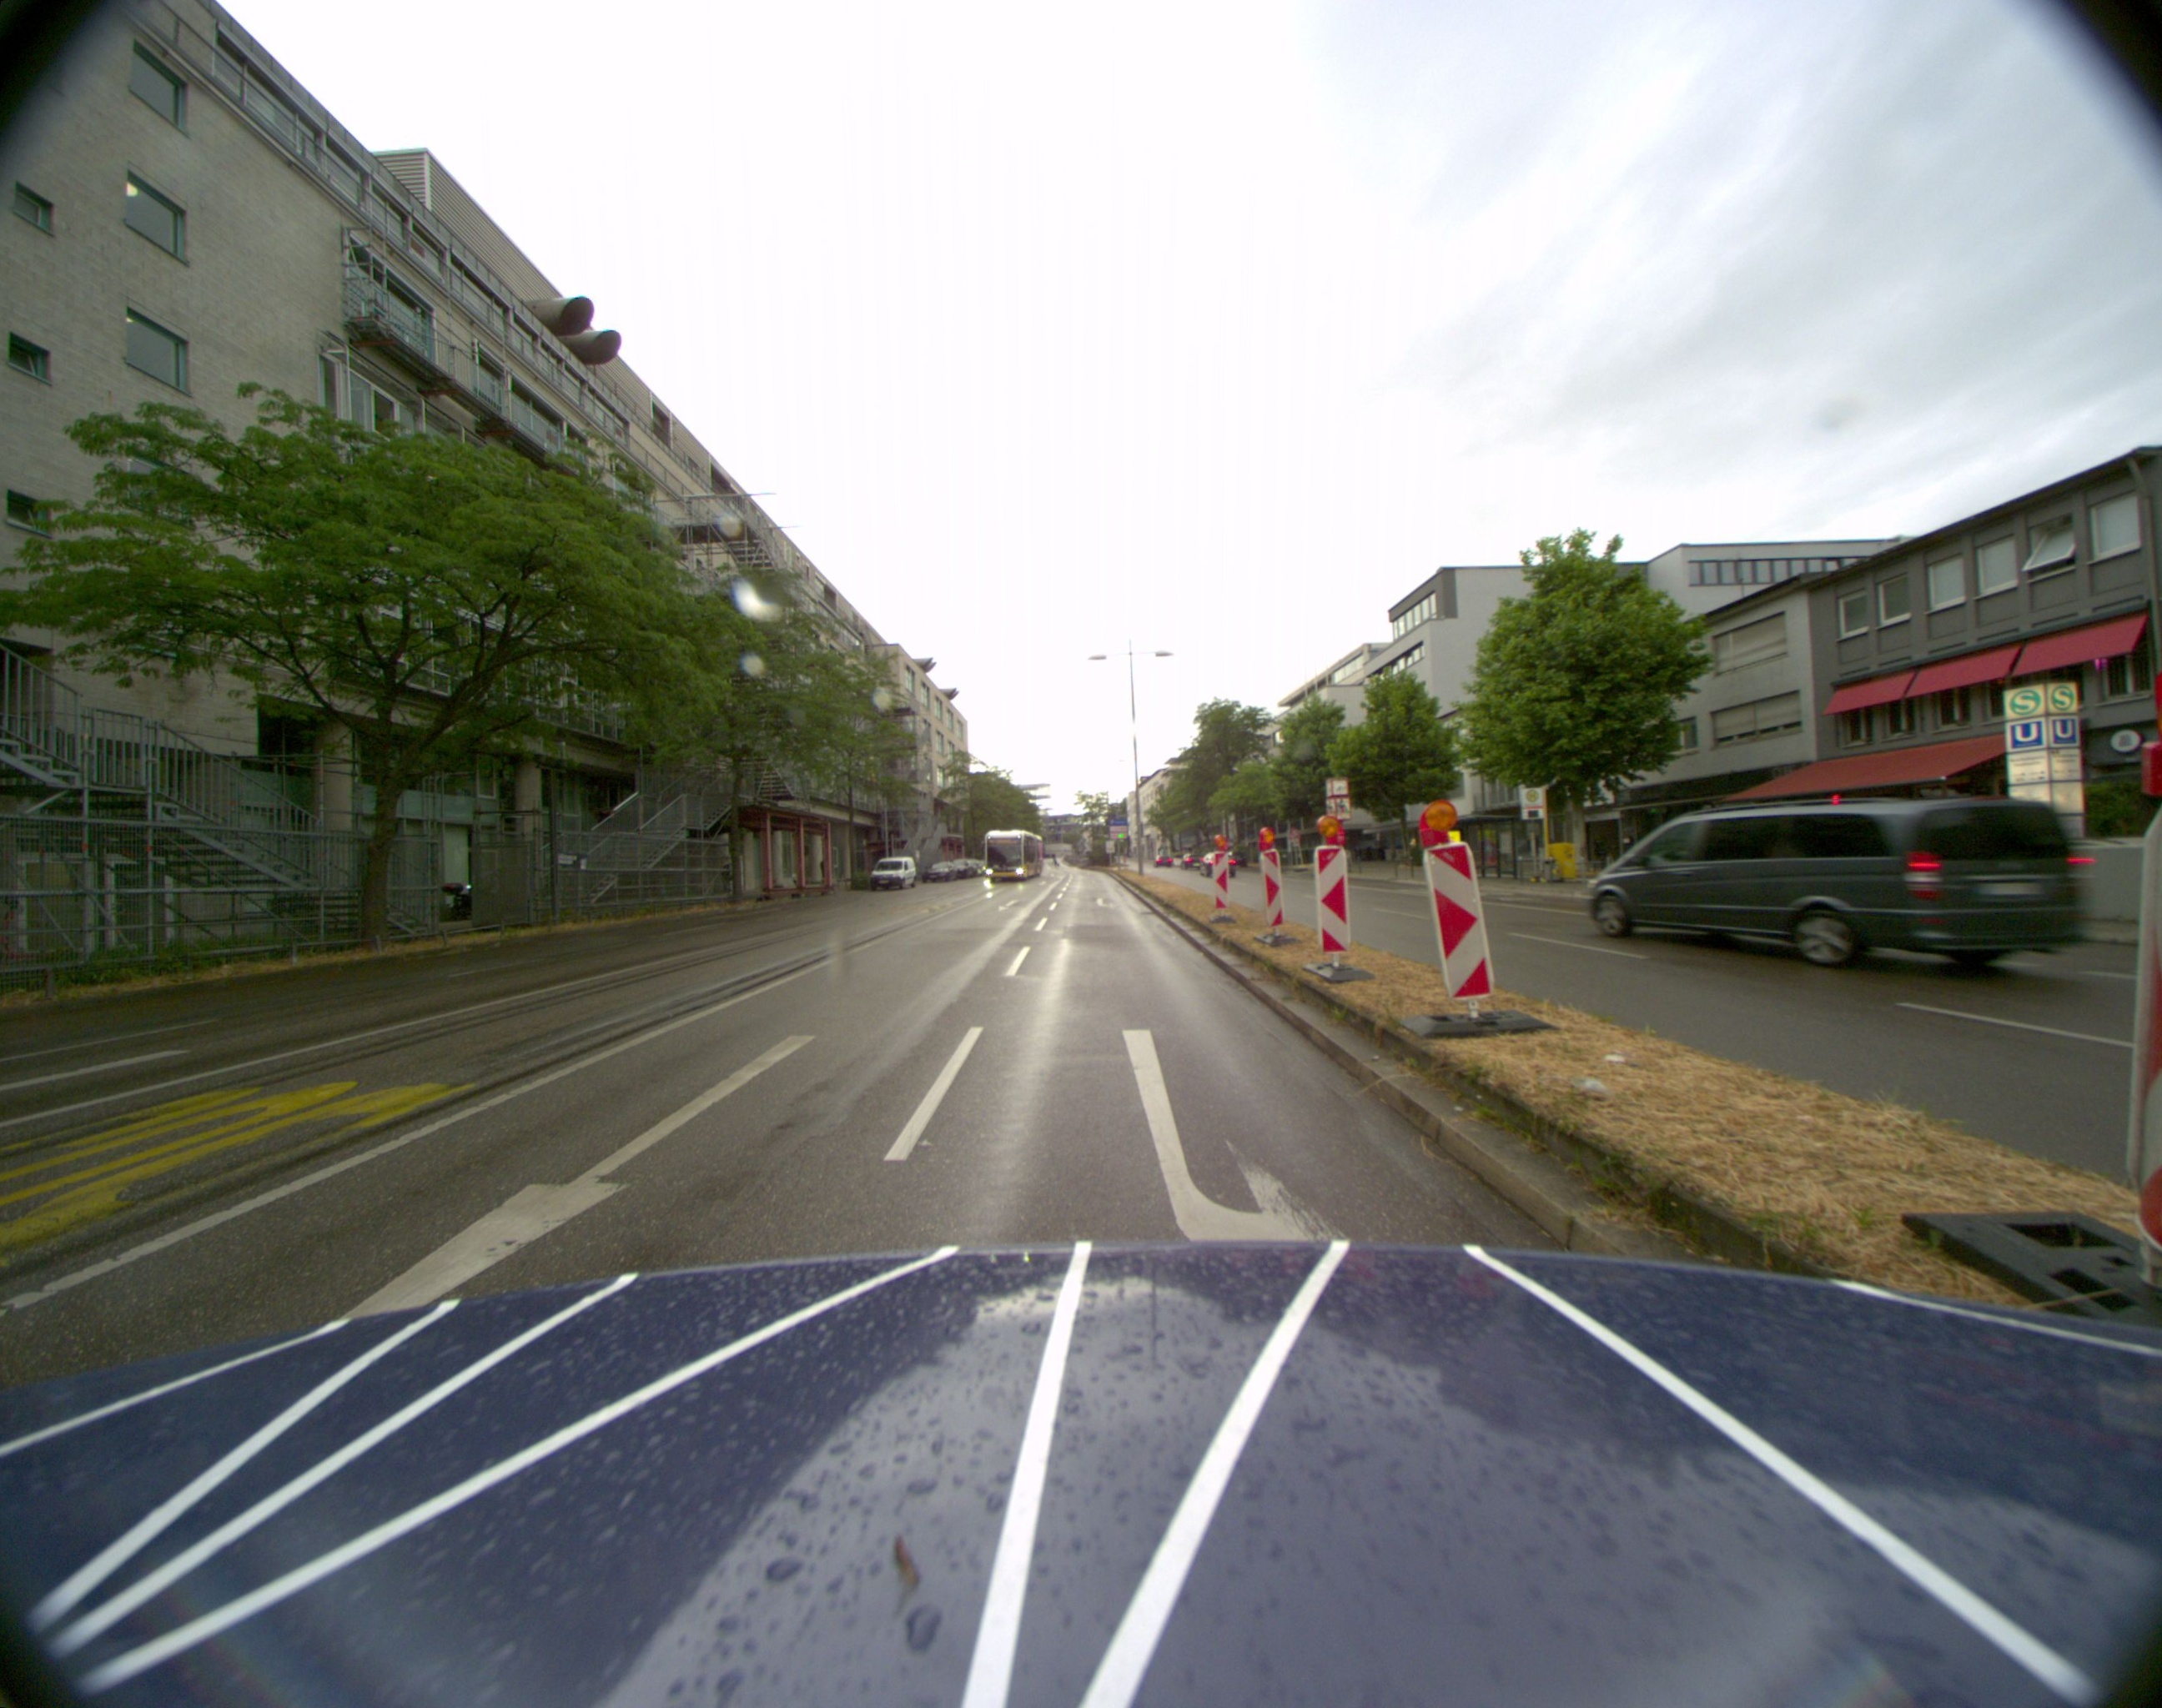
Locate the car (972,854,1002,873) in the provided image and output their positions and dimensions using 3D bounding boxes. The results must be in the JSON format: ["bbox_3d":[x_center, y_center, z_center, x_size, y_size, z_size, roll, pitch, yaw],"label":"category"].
[{"bbox_3d":[-8.897,0.900,72.427,2.147,1.637,4.816,-2,1,1],"label":"car"}]

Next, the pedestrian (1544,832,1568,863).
[{"bbox_3d":[24.671,-0.345,39.497,0.774,1.556,0.767,-2,1,8],"label":"pedestrian"}]

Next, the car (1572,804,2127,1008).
[{"bbox_3d":[9.117,0.402,9.903,1.999,1.917,4.961,-2,3,-4],"label":"car"}]

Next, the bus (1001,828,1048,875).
[{"bbox_3d":[-4.486,-0.252,62.664,2.890,3.420,9.709,-2,1,1],"label":"bus"}]

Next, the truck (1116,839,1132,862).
[{"bbox_3d":[7.101,-0.554,127.117,1.999,3.557,7.572,-2,0,-2],"label":"truck"}]

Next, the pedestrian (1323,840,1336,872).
[{"bbox_3d":[14.267,0.111,43.611,0.575,1.815,0.580,-2,1,7],"label":"pedestrian"}]

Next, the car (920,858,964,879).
[{"bbox_3d":[-9.897,1.008,54.422,2.147,1.329,4.816,-2,1,1],"label":"car"}]

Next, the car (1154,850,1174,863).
[{"bbox_3d":[10.046,0.295,92.091,1.692,1.545,4.419,-2,0,-2],"label":"car"}]

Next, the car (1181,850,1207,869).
[{"bbox_3d":[10.035,0.514,67.876,1.691,1.422,4.217,-2,-4,1],"label":"car"}]

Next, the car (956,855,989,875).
[{"bbox_3d":[-9.467,0.941,66.691,2.147,1.552,4.816,-2,1,1],"label":"car"}]

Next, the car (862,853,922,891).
[{"bbox_3d":[-10.530,0.945,42.658,2.213,1.895,4.329,-2,1,0],"label":"car"}]

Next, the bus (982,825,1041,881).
[{"bbox_3d":[-4.653,-0.141,52.947,2.890,3.430,9.756,-2,1,1],"label":"bus"}]

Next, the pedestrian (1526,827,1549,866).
[{"bbox_3d":[23.677,-0.381,39.422,0.774,2.002,0.767,-2,1,8],"label":"pedestrian"}]

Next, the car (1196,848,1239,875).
[{"bbox_3d":[8.318,0.443,46.670,1.692,1.501,4.290,-2,0,-2],"label":"car"}]

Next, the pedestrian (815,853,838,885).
[{"bbox_3d":[-16.233,0.943,48.497,1.009,2.002,1.039,-2,1,1],"label":"pedestrian"}]

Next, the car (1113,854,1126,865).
[{"bbox_3d":[7.024,0.986,139.508,1.999,2.002,3.999,-2,1,-2],"label":"car"}]

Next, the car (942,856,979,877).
[{"bbox_3d":[-9.627,0.981,61.221,2.147,1.486,4.816,-2,1,1],"label":"car"}]

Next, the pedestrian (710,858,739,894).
[{"bbox_3d":[-18.408,1.139,39.231,1.009,1.789,0.846,-2,1,1],"label":"pedestrian"}]
